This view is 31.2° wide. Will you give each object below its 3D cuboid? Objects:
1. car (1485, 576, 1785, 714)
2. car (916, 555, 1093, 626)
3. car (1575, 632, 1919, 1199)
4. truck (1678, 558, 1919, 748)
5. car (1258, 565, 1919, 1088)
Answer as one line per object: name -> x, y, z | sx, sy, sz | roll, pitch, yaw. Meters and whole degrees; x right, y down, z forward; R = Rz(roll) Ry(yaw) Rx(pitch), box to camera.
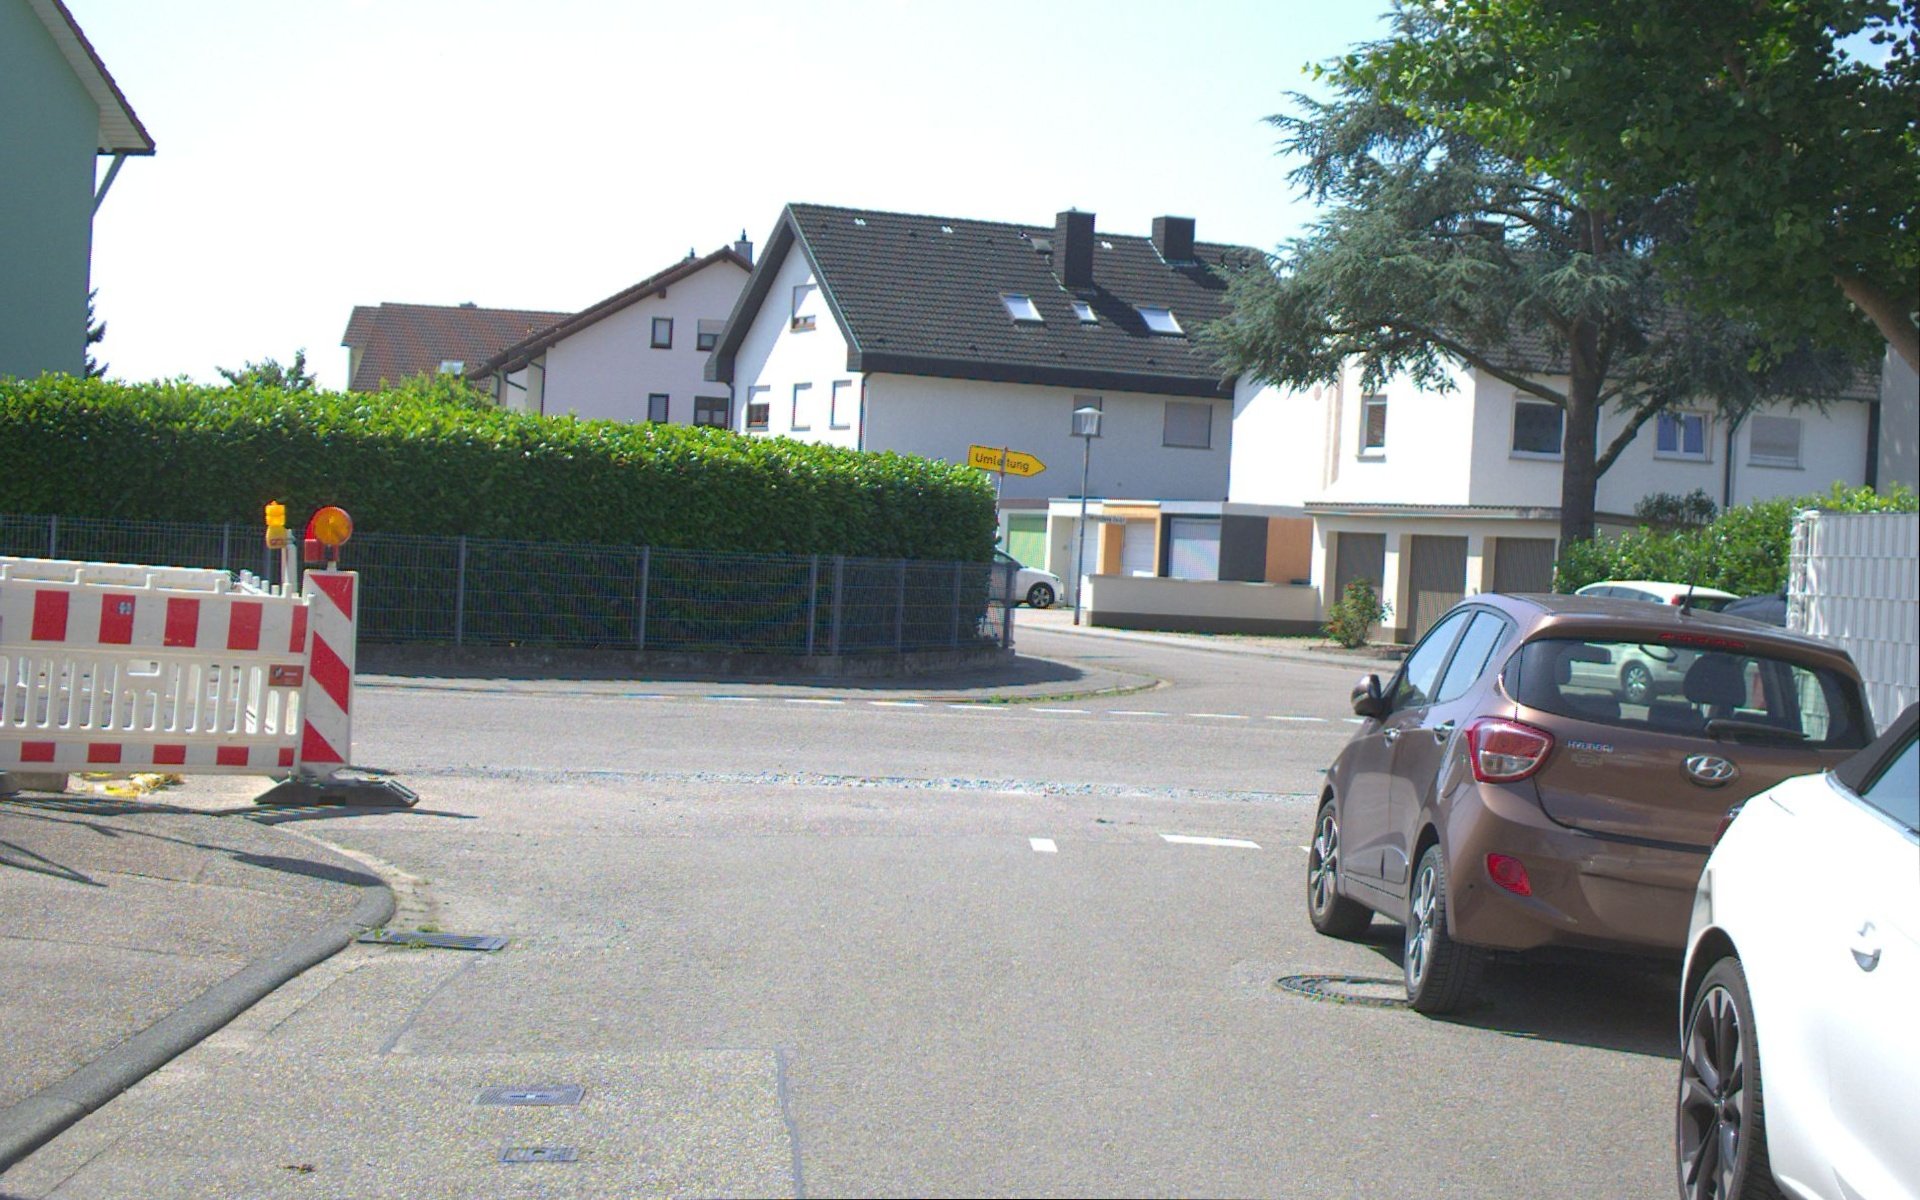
car -> 9.081, 0.584, 46.583 | 1.797, 1.557, 4.145 | 3, 1, -25
car -> 1.024, -0.219, 79.429 | 3.598, 1.403, 1.784 | 3, 1, -22
car -> 2.691, 0.890, 6.619 | 1.895, 1.424, 4.738 | 4, 1, -2
truck -> 11.246, 0.656, 40.497 | 2.363, 2.007, 5.714 | 3, 1, -26
car -> 2.362, 0.733, 13.410 | 1.712, 1.527, 4.036 | 7, 1, -3
